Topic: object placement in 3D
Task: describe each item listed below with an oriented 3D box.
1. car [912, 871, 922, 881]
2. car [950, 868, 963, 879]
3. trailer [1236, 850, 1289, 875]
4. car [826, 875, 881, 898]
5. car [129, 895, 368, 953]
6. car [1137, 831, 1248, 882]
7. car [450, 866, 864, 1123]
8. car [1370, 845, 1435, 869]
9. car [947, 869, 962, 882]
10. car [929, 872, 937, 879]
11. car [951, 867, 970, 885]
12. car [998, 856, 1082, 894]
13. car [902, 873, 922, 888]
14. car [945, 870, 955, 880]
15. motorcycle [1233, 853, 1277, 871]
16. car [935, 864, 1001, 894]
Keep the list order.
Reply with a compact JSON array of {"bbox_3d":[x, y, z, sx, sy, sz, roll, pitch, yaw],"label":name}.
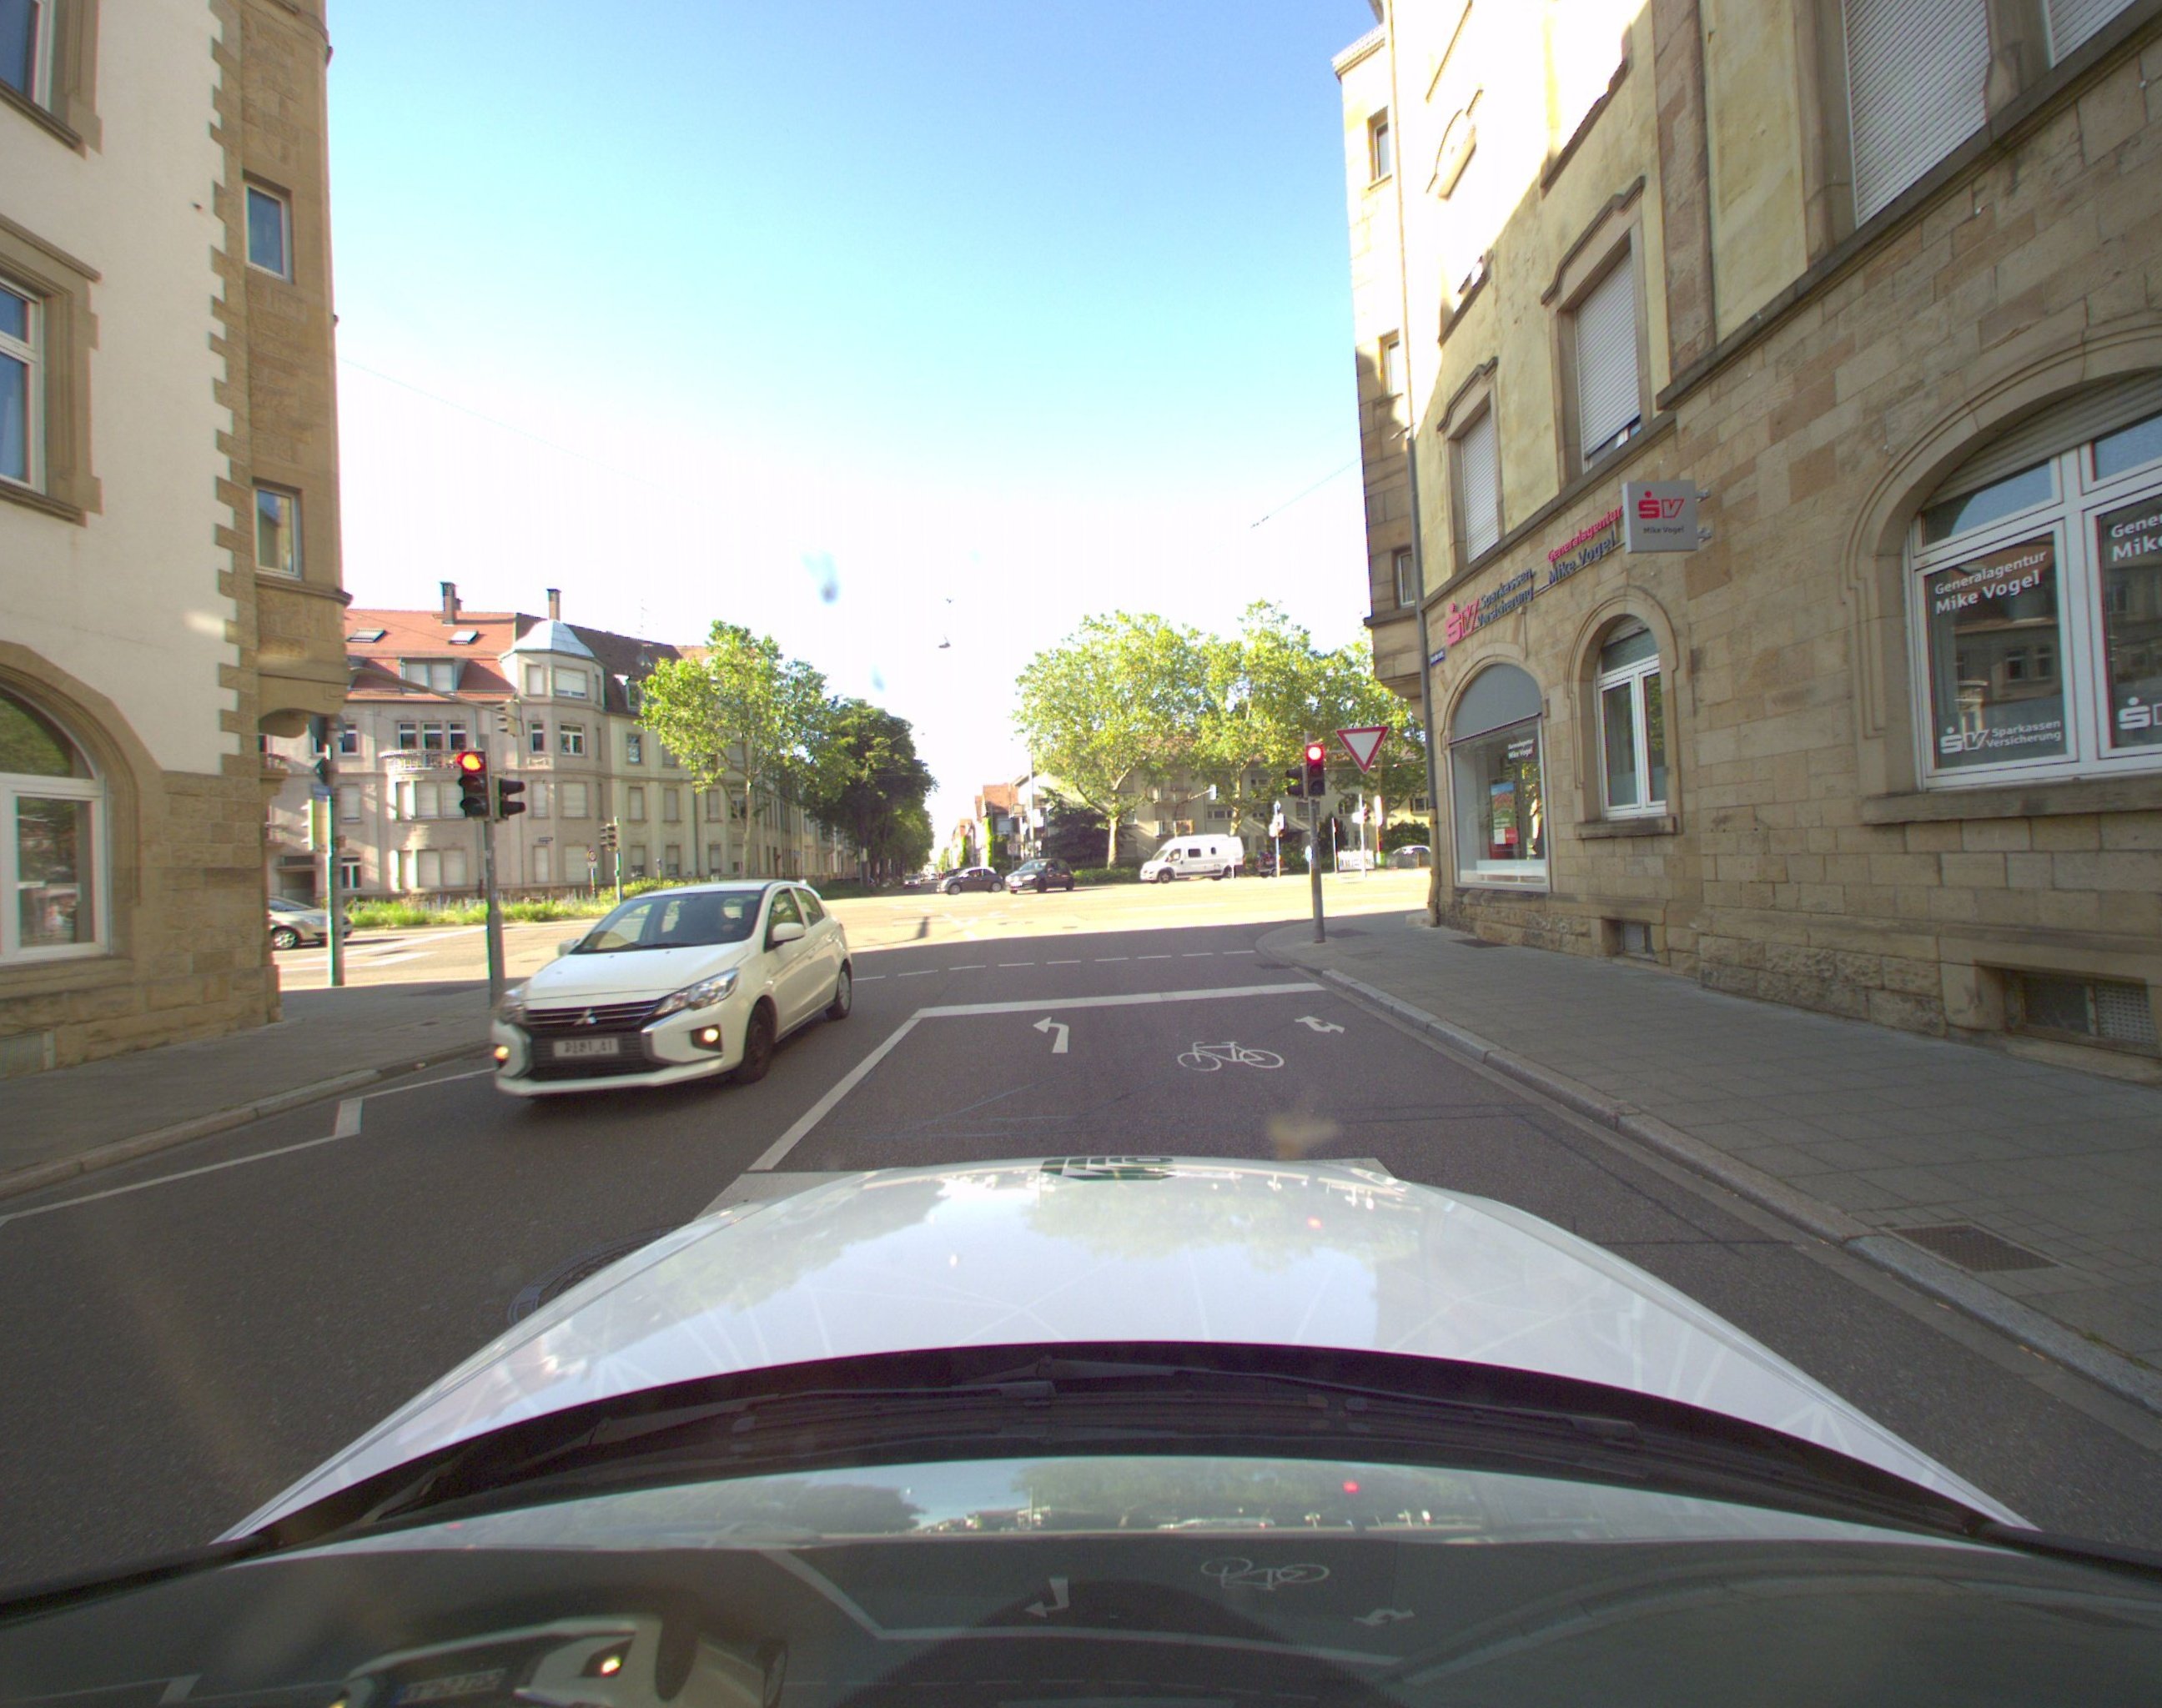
[{"bbox_3d":[-28.669,3.785,142.529,1.546,1.632,3.224,-3,0,-9],"label":"car"},{"bbox_3d":[-17.845,2.830,116.592,1.519,1.490,2.841,-1,-1,-15],"label":"car"},{"bbox_3d":[10.746,0.504,48.303,2.747,1.311,1.263,-3,0,-17],"label":"trailer"},{"bbox_3d":[-17.911,2.529,64.168,3.997,1.486,1.672,-3,0,-17],"label":"car"},{"bbox_3d":[-21.811,1.796,21.536,3.995,1.319,1.812,0,-2,-16],"label":"car"},{"bbox_3d":[6.456,0.134,47.192,6.054,2.568,1.989,-3,0,-17],"label":"car"},{"bbox_3d":[-3.158,0.903,7.009,1.620,1.472,3.796,-3,0,-2],"label":"car"},{"bbox_3d":[20.105,0.203,50.949,3.664,1.354,1.596,-1,-1,-21],"label":"car"},{"bbox_3d":[-19.560,3.310,126.049,1.996,1.833,3.980,-1,-1,-14],"label":"car"},{"bbox_3d":[-31.768,4.624,174.772,1.673,1.483,3.511,-2,-1,-9],"label":"car"},{"bbox_3d":[-14.031,2.552,95.219,1.992,2.013,3.989,-3,0,-8],"label":"car"},{"bbox_3d":[-1.749,0.899,35.776,1.637,1.451,4.026,-3,0,31],"label":"car"},{"bbox_3d":[-18.125,2.825,87.188,1.995,1.445,3.983,-3,0,-12],"label":"car"},{"bbox_3d":[-23.600,3.766,146.784,1.639,1.632,3.270,-3,0,-9],"label":"car"},{"bbox_3d":[13.257,0.586,62.081,2.868,1.178,1.470,-3,0,-15],"label":"motorcycle"},{"bbox_3d":[-6.312,1.385,45.520,3.391,1.487,1.515,-3,0,-20],"label":"car"}]
